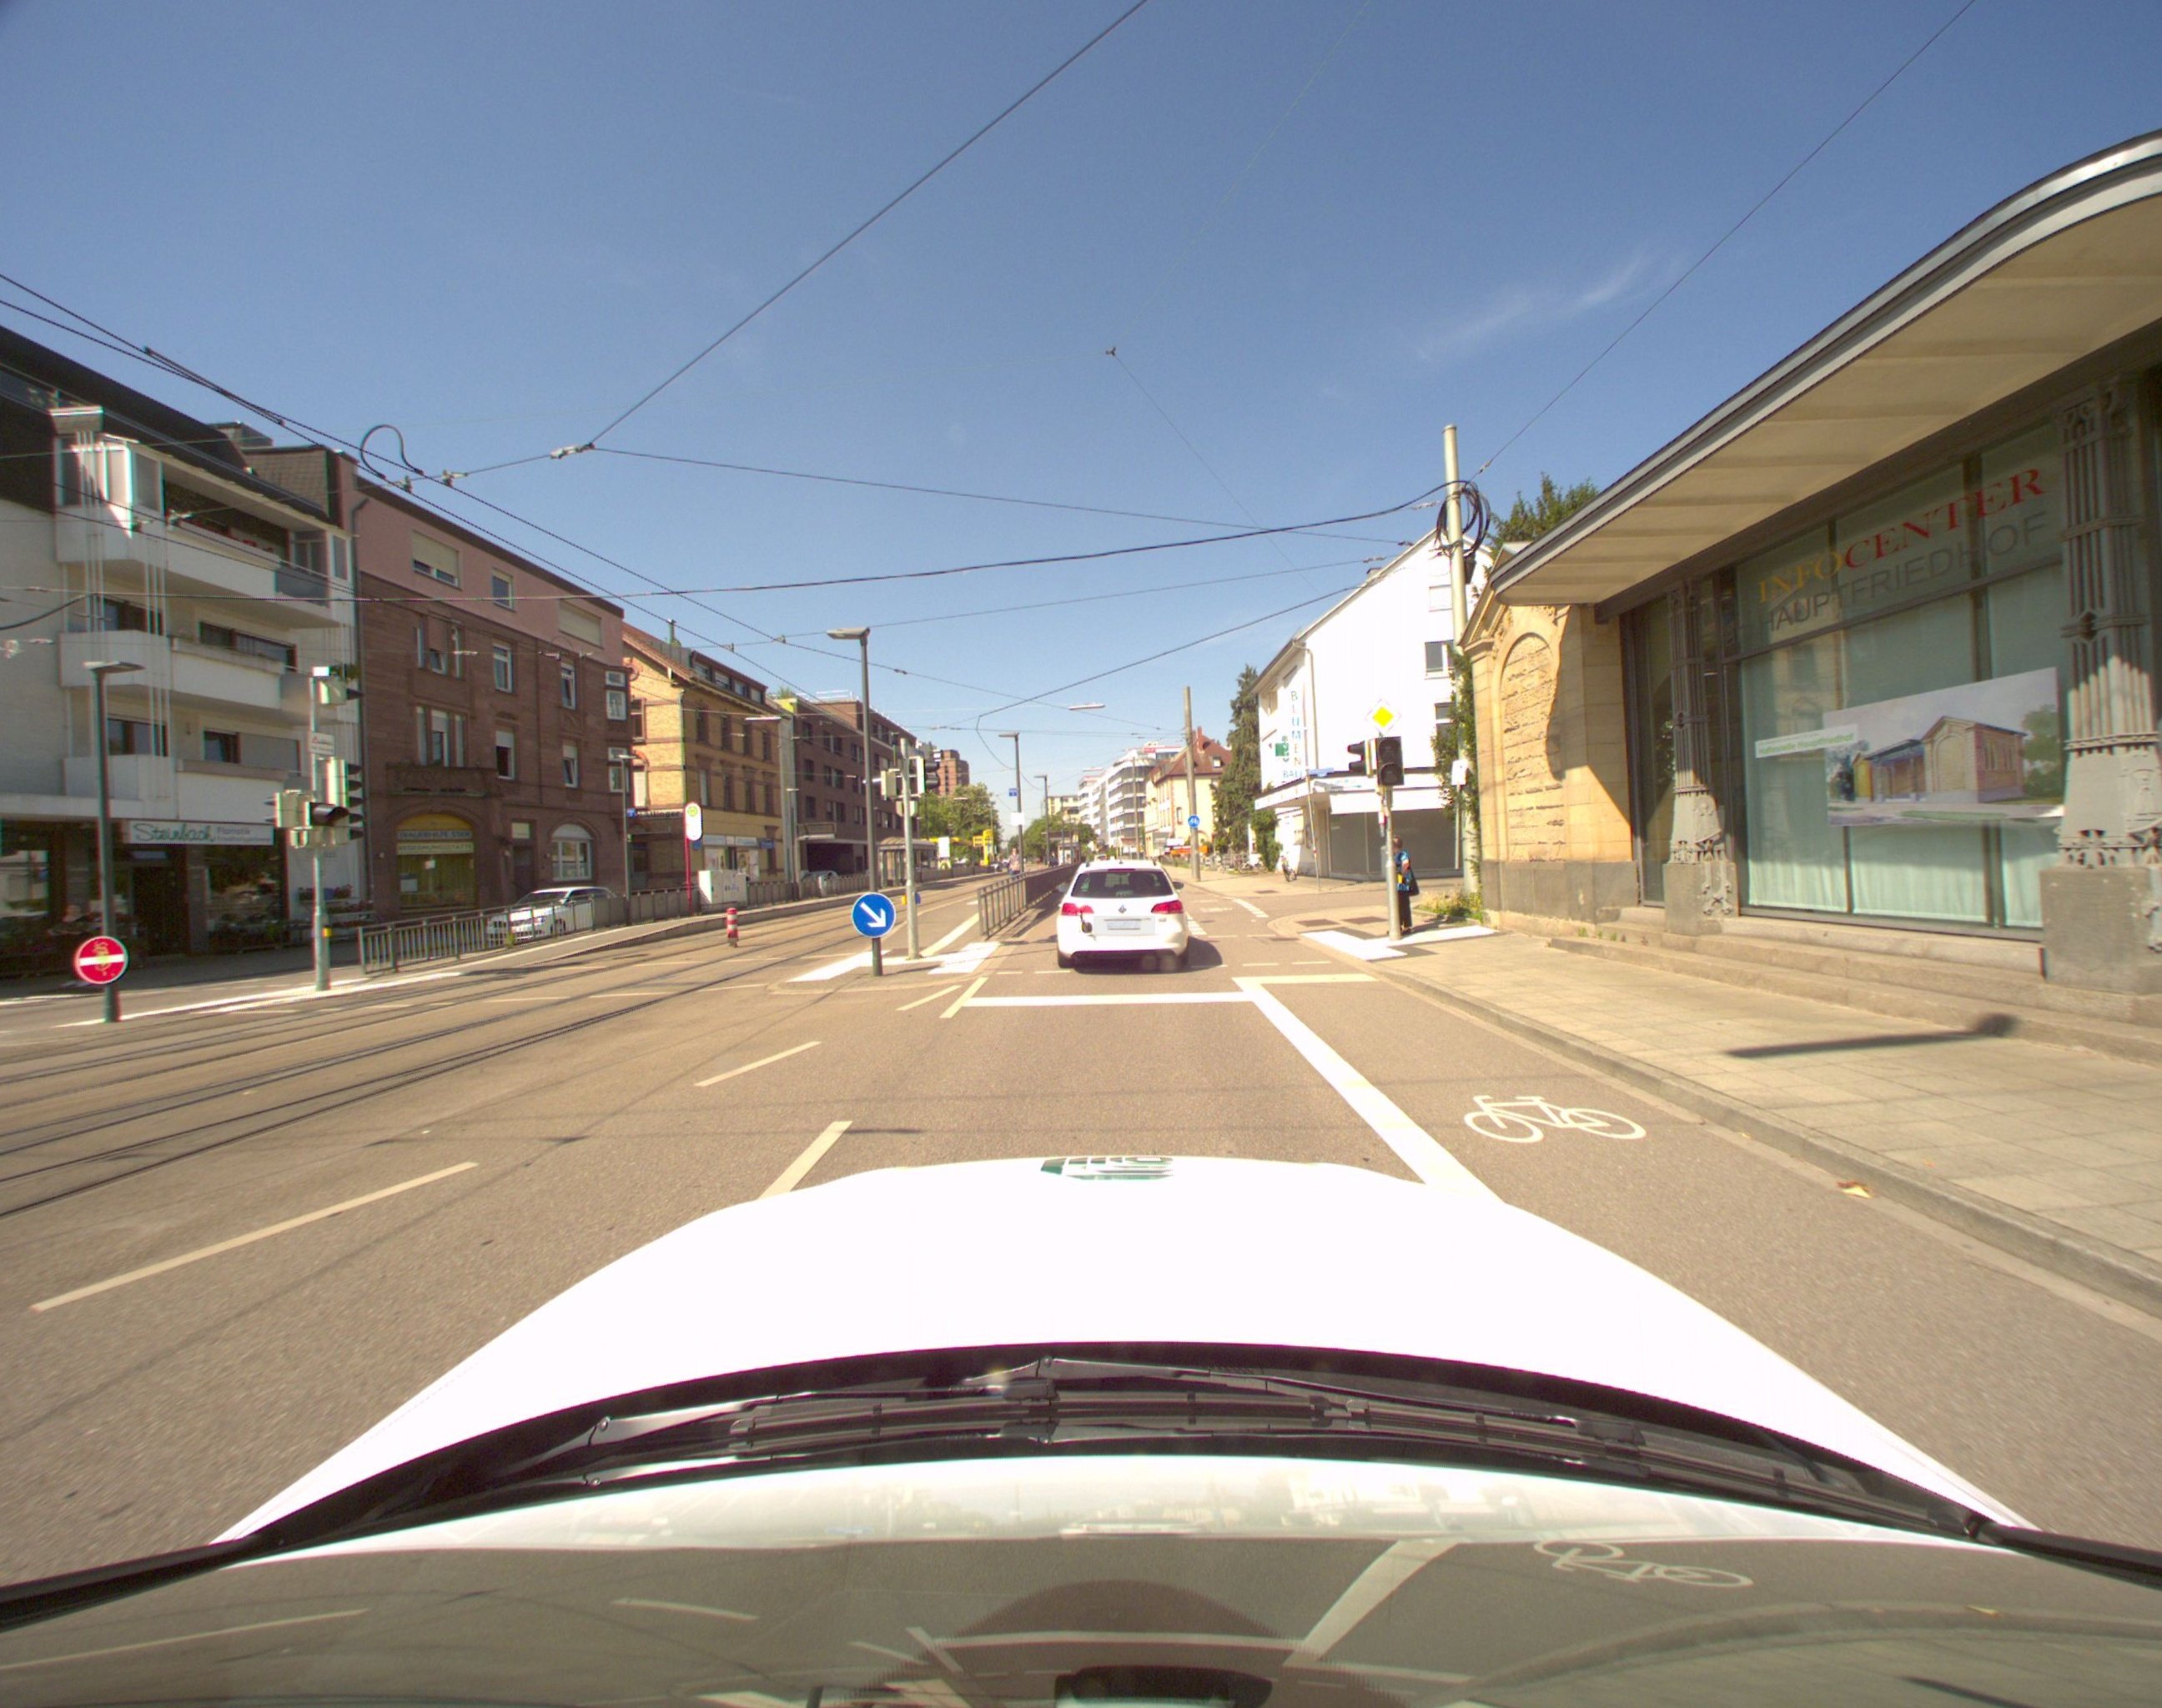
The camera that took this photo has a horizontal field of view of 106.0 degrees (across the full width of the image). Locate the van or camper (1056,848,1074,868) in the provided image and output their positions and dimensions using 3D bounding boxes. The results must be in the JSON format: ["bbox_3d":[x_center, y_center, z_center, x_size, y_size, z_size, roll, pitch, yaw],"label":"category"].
[{"bbox_3d":[-2.811,0.711,145.301,2.936,3.180,6.607,-3,0,-2],"label":"van or camper"}]

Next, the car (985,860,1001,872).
[{"bbox_3d":[-12.259,1.642,113.930,1.662,1.466,3.774,-3,0,1],"label":"car"}]

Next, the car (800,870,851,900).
[{"bbox_3d":[-14.249,1.702,45.563,1.567,1.459,3.738,-3,0,0],"label":"car"}]

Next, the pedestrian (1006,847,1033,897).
[{"bbox_3d":[-2.287,0.652,30.345,0.823,1.809,0.834,-3,0,2],"label":"pedestrian"}]

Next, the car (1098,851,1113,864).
[{"bbox_3d":[4.038,0.575,134.538,1.989,2.013,3.996,-3,0,-3],"label":"car"}]

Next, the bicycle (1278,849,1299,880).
[{"bbox_3d":[8.277,0.403,32.443,0.720,1.139,2.203,-3,0,14],"label":"bicycle"}]

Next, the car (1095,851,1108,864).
[{"bbox_3d":[3.520,0.630,139.970,1.989,2.013,3.996,-3,0,-3],"label":"car"}]

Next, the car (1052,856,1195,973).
[{"bbox_3d":[0.599,0.757,12.013,1.746,1.418,3.854,-1,0,2],"label":"car"}]

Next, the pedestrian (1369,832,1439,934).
[{"bbox_3d":[5.081,0.444,12.852,0.775,1.510,0.861,-3,0,8],"label":"pedestrian"}]

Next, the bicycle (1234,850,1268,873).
[{"bbox_3d":[9.122,0.401,43.708,1.705,1.130,0.526,-3,-1,3],"label":"bicycle"}]

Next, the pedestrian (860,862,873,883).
[{"bbox_3d":[-18.901,1.662,71.781,0.722,1.791,0.965,-3,0,1],"label":"pedestrian"}]

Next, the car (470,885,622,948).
[{"bbox_3d":[-14.829,1.675,22.859,1.620,1.431,3.962,-2,0,0],"label":"car"}]

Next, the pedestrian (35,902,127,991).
[{"bbox_3d":[-19.791,1.806,16.143,0.881,1.647,0.676,-3,-1,-21],"label":"pedestrian"}]

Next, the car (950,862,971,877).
[{"bbox_3d":[-12.915,1.659,87.646,1.567,1.459,3.738,-3,0,0],"label":"car"}]

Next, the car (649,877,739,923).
[{"bbox_3d":[-14.458,1.674,30.648,1.568,1.459,3.811,-3,0,-2],"label":"car"}]
